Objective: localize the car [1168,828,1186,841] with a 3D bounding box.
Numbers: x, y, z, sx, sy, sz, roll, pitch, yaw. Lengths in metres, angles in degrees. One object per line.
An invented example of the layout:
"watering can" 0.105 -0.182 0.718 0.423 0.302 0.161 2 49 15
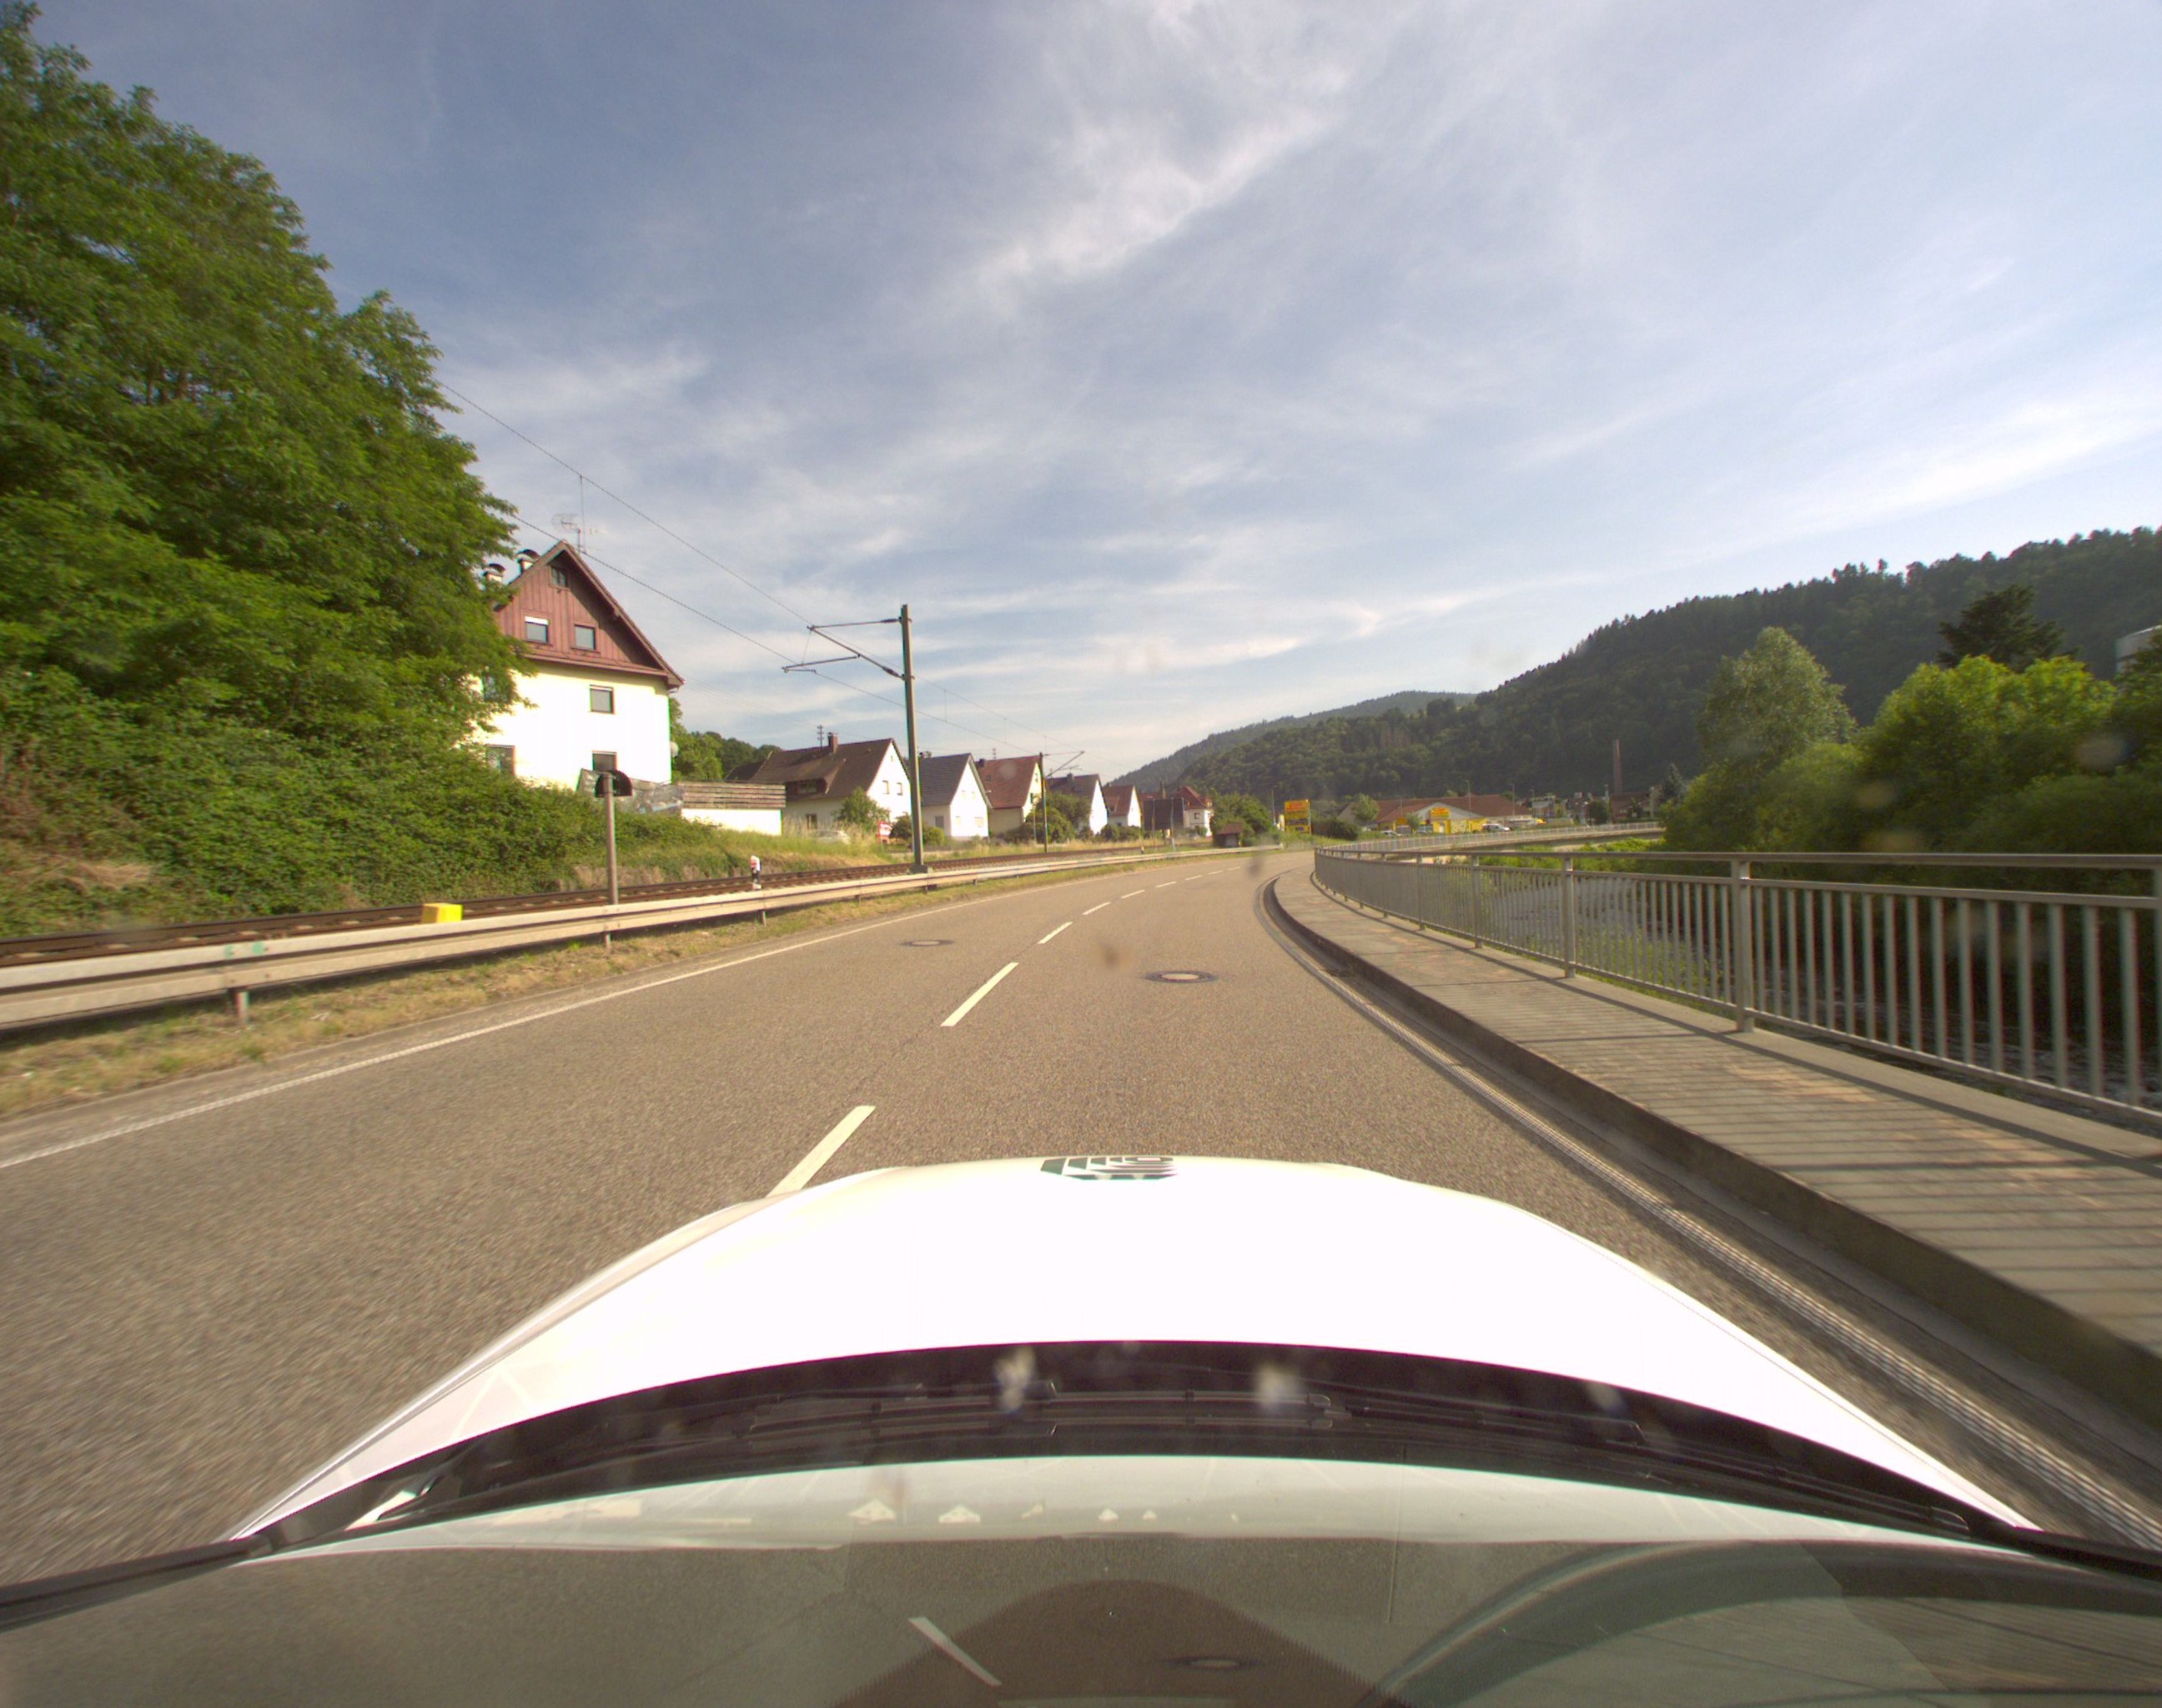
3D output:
"car" 15.223 -3.011 129.255 1.979 1.881 4.018 5 2 16

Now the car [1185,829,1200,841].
"car" 19.533 -3.366 142.334 1.979 1.881 4.018 5 2 16

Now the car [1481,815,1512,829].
"car" 66.656 -5.073 130.641 2.009 2.014 3.955 3 -2 -37

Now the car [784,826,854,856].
"car" -16.266 -0.837 50.619 4.028 1.674 1.639 -2 4 -21
